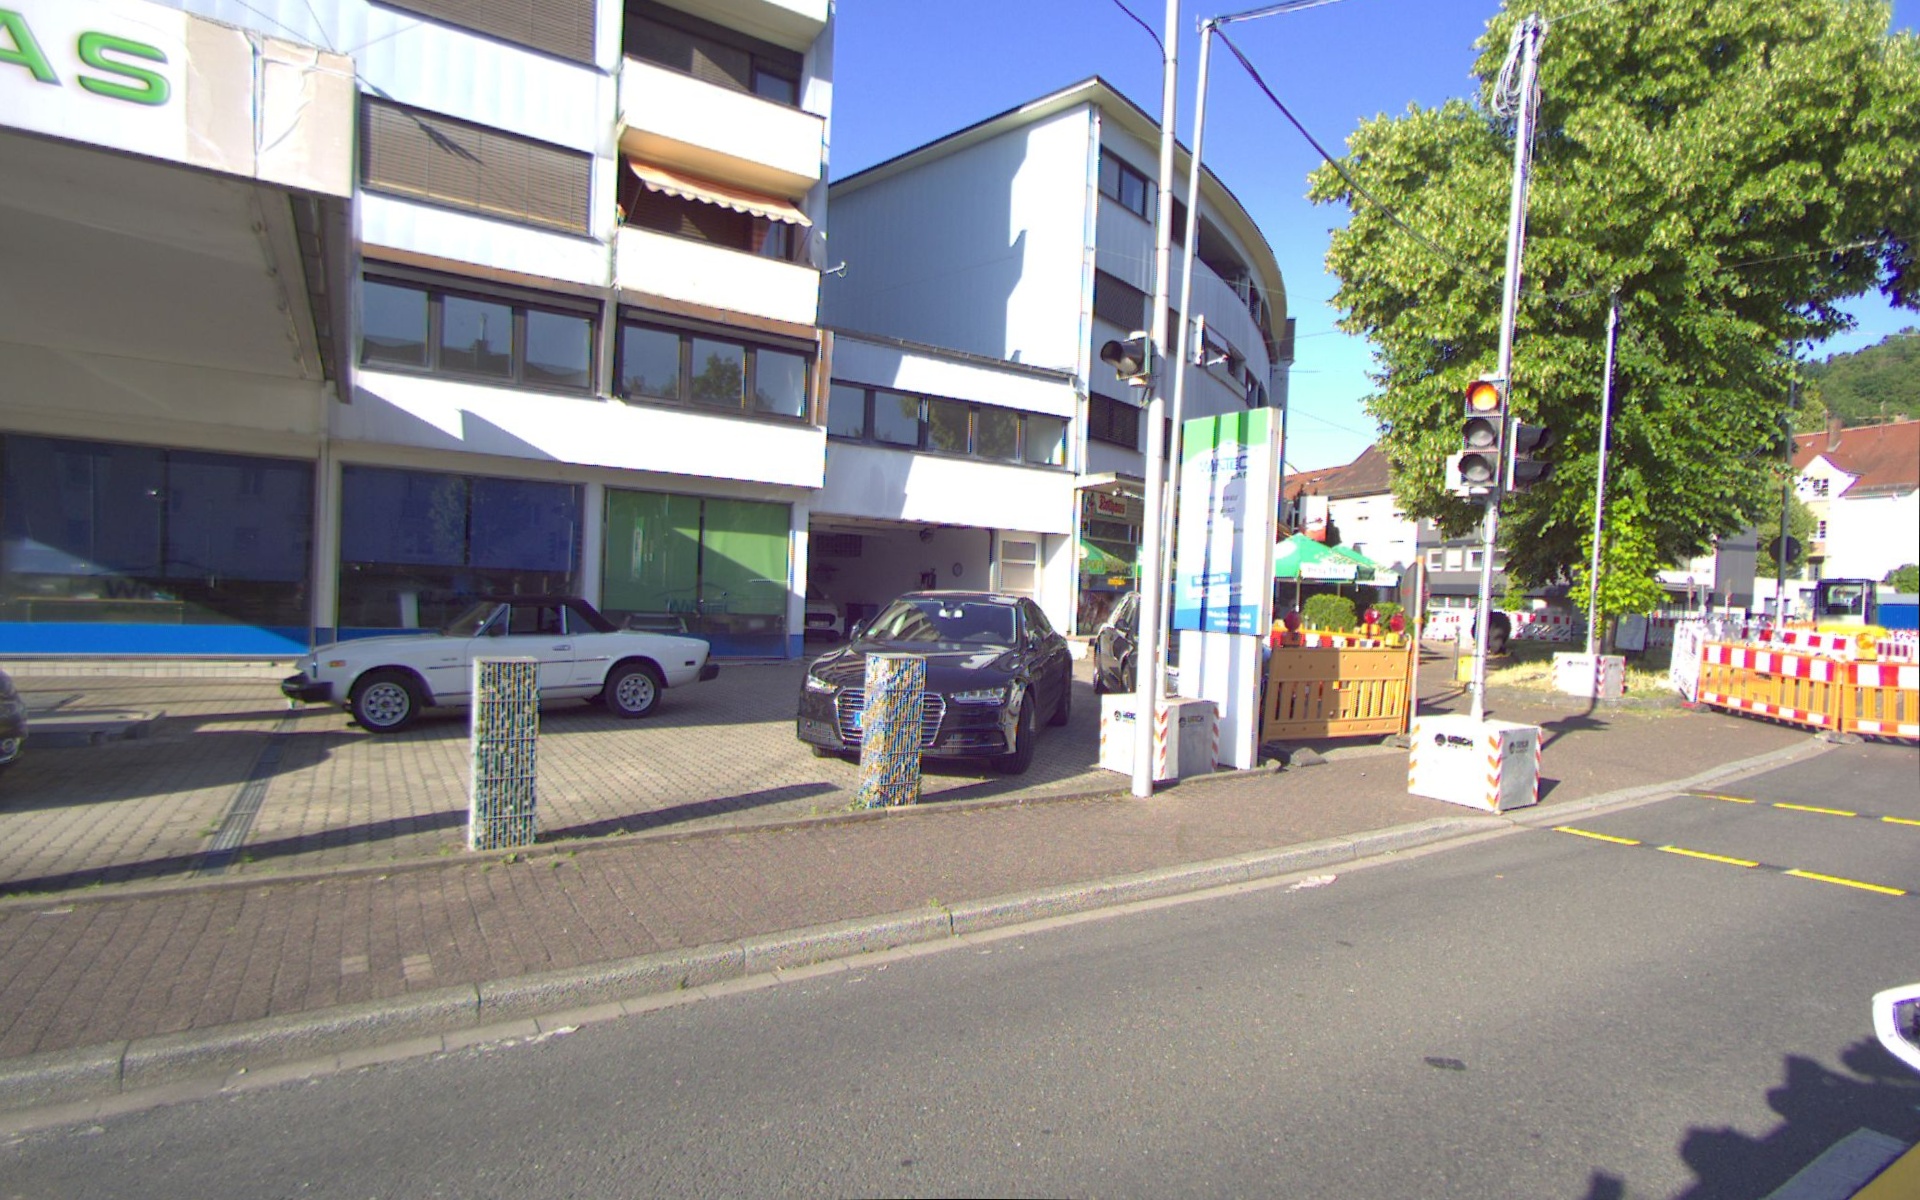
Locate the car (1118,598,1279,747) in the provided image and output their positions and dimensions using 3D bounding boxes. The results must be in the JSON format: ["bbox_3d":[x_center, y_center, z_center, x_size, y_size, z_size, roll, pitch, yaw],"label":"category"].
[{"bbox_3d":[2.772,0.749,12.088,1.564,1.457,3.887,1,0,11],"label":"car"}]

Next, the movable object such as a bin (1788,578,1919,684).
[{"bbox_3d":[21.573,0.707,24.126,3.882,2.356,1.635,1,0,-36],"label":"movable object such as a bin"}]

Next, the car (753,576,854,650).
[{"bbox_3d":[-3.879,0.259,24.389,1.550,1.629,3.734,2,1,-23],"label":"car"}]

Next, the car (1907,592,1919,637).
[{"bbox_3d":[49.525,0.796,48.464,6.043,2.149,2.586,2,0,-12],"label":"car"}]

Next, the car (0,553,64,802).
[{"bbox_3d":[-7.469,0.412,5.868,3.305,1.506,1.543,2,0,8],"label":"car"}]

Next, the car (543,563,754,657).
[{"bbox_3d":[-6.086,0.223,19.719,3.593,1.696,1.707,2,0,-34],"label":"car"}]

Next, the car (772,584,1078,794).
[{"bbox_3d":[-0.011,0.653,9.580,1.893,1.457,4.692,1,-1,11],"label":"car"}]

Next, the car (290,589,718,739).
[{"bbox_3d":[-4.662,0.596,10.496,3.865,1.315,1.511,1,-1,-35],"label":"car"}]
